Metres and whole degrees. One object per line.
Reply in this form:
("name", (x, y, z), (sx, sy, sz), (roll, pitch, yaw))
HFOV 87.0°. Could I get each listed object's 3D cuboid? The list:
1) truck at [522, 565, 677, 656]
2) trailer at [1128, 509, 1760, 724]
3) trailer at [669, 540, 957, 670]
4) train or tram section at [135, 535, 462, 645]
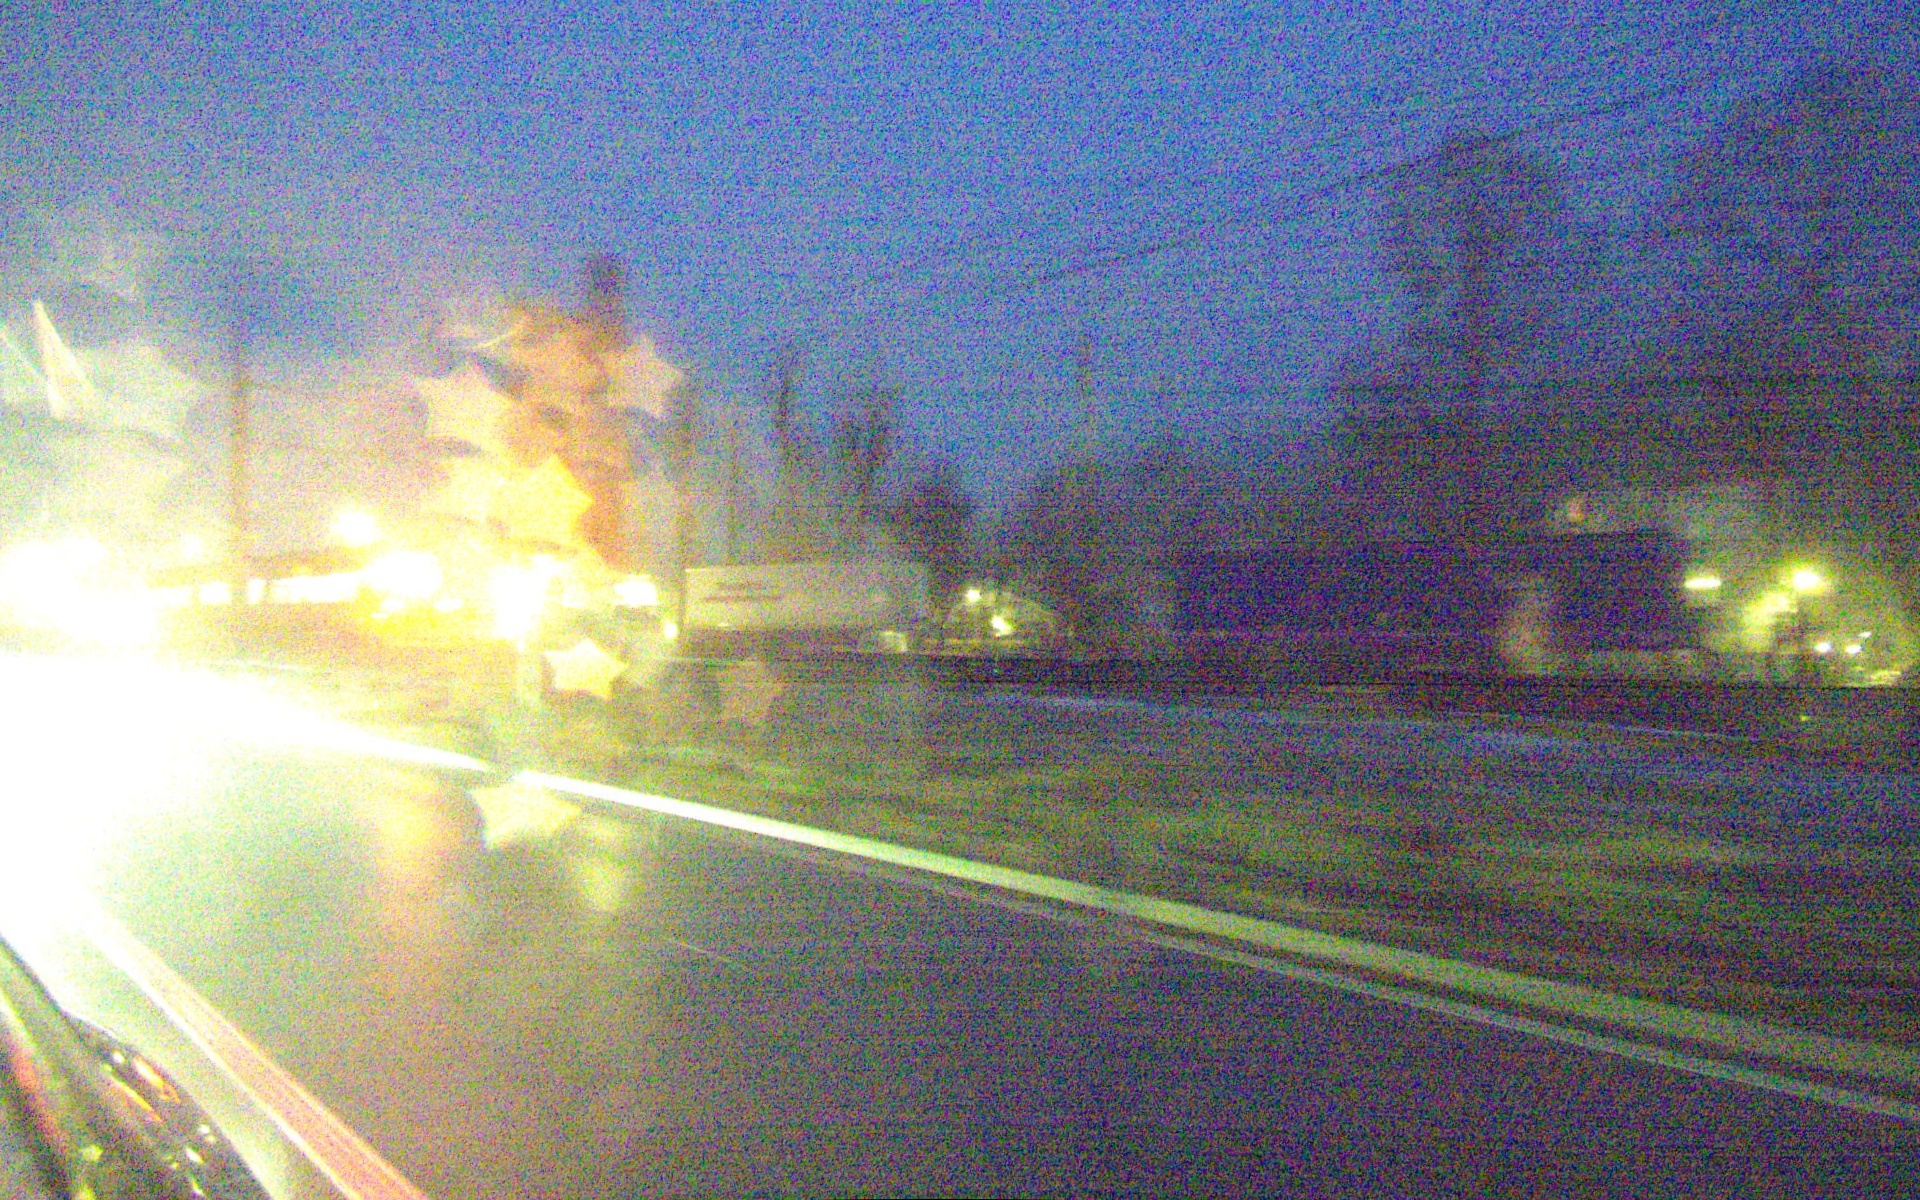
("truck", (-20.278, 0.506, 56.537), (10.205, 4.644, 3.405), (0, 1, 40))
("trailer", (12.513, 0.331, 28.400), (15.503, 4.644, 3.931), (0, 1, 40))
("trailer", (-7.103, 0.160, 45.618), (14.823, 5.050, 3.931), (0, 1, 40))
("train or tram section", (-33.437, -0.306, 48.450), (37.120, 3.843, 2.669), (0, 1, 40))
